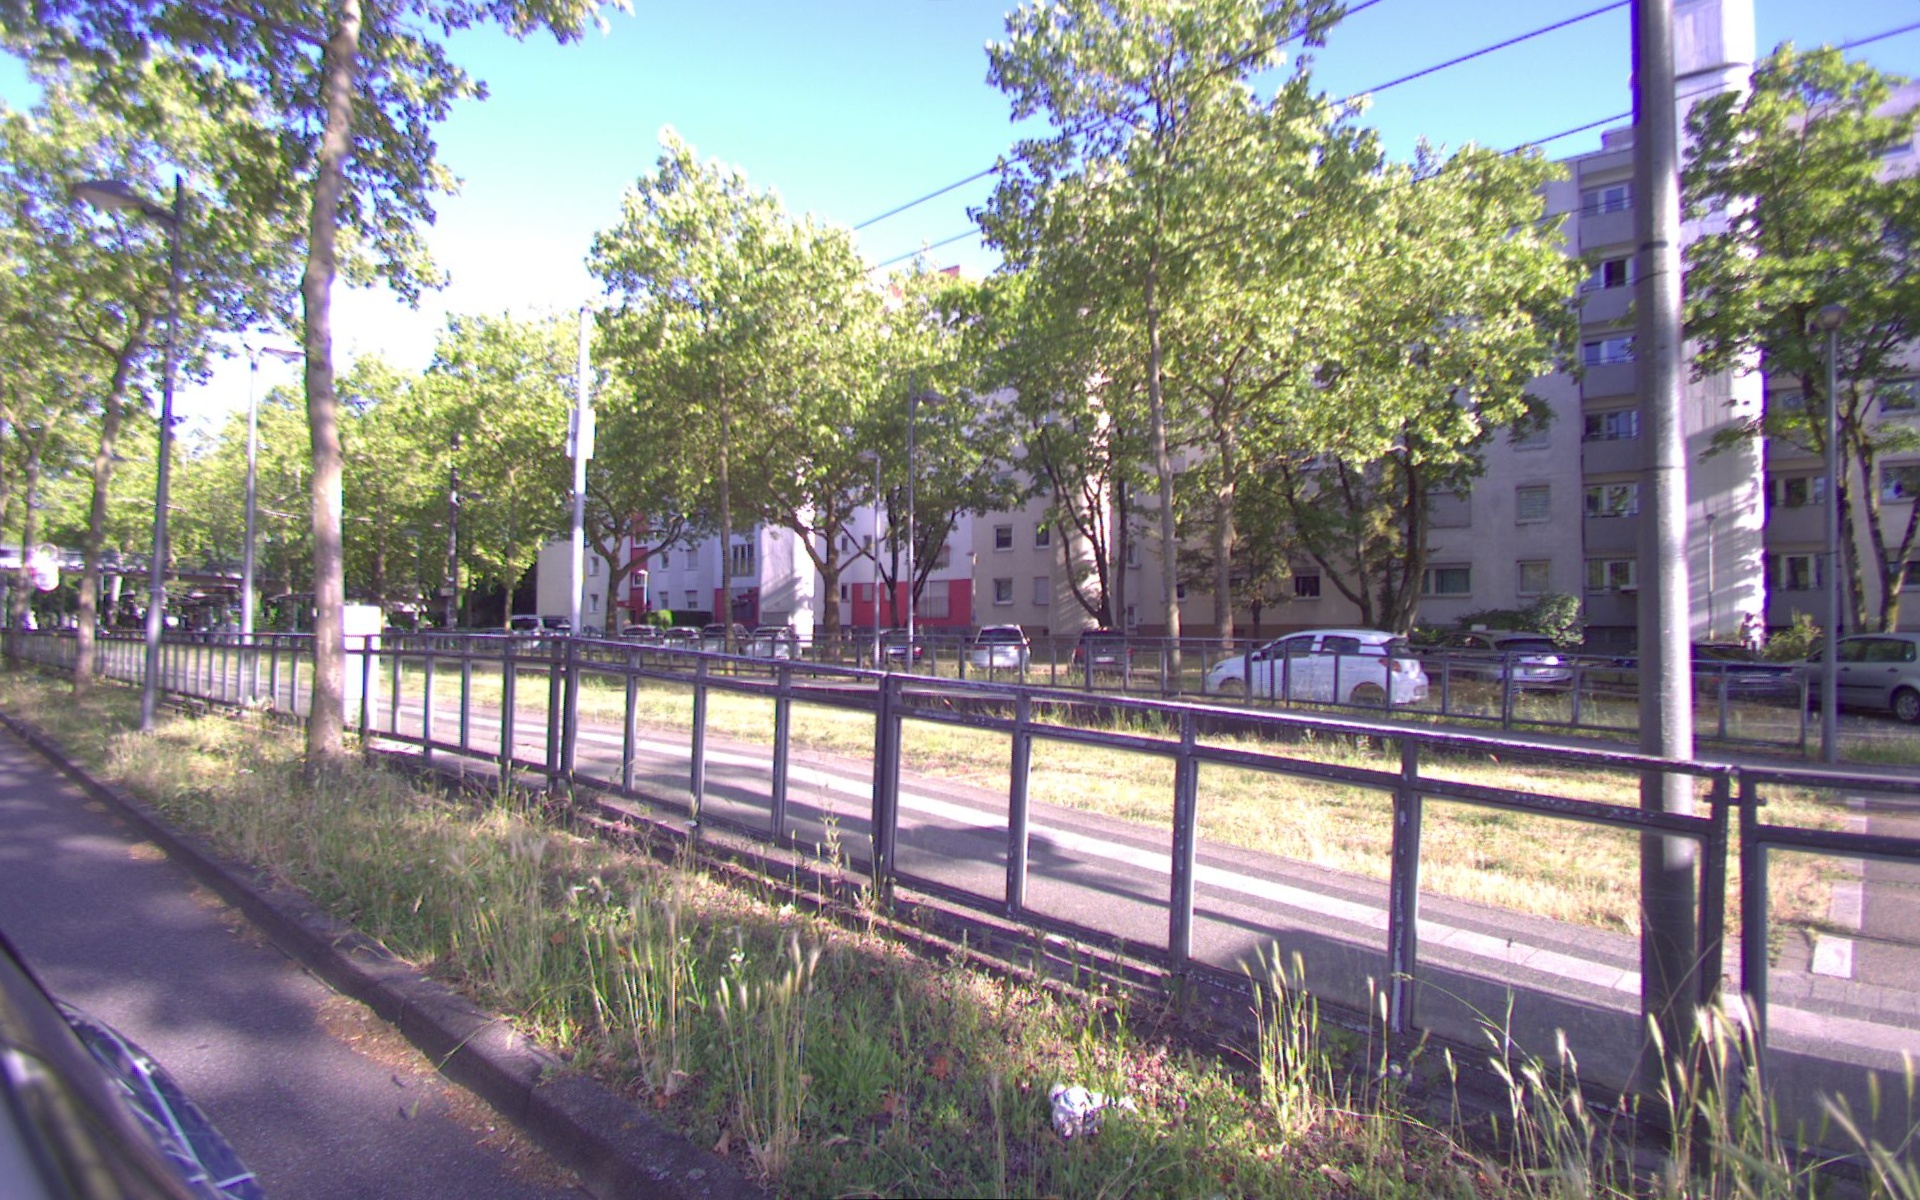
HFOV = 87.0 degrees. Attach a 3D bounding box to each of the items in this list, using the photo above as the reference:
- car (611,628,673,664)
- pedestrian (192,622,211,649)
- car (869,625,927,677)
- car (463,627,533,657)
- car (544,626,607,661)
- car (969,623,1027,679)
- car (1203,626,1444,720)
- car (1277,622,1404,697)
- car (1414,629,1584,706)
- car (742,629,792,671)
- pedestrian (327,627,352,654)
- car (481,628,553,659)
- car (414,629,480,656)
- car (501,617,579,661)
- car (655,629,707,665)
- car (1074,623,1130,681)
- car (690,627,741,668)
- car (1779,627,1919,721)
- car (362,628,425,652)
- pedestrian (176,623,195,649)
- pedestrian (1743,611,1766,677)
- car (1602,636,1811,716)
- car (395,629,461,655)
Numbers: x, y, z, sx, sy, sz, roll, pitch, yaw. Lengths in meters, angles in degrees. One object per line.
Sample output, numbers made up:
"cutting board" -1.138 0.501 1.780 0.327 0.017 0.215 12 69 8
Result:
"car" -14.228 2.029 45.495 1.870 1.515 4.506 -1 -1 -7
"pedestrian" -46.335 2.148 61.843 0.715 1.647 0.721 -1 -3 40
"car" -2.109 1.641 33.513 1.621 1.556 4.181 -1 -1 -7
"car" -25.853 2.326 56.797 1.873 1.509 4.500 -2 -1 0
"car" -18.849 2.102 49.730 1.665 1.623 4.061 -1 -1 -2
"car" 1.109 1.510 30.948 1.623 1.556 3.992 -1 -1 0
"car" 6.422 1.223 18.083 3.717 1.460 1.614 -1 -1 42
"car" 8.658 1.307 23.280 1.442 1.559 3.142 -1 -1 -5
"car" 11.188 1.345 21.270 1.516 1.437 3.388 0 -1 -5
"car" -7.295 1.849 38.461 1.551 1.485 4.066 -1 -1 -7
"pedestrian" -26.883 1.769 43.845 0.662 1.136 0.687 -1 -5 43
"car" -23.565 2.279 53.973 1.873 1.509 4.500 -2 -1 0
"car" -30.561 2.502 60.405 1.678 1.439 4.196 -2 -1 3
"car" -21.283 1.911 51.437 1.875 2.079 4.495 -2 -1 3
"car" -11.985 1.995 43.629 1.551 1.443 4.066 -1 -1 -7
"car" 3.996 1.416 28.370 1.448 1.520 3.375 -1 -1 8
"car" -9.949 1.906 41.379 1.551 1.580 4.066 -1 -2 -7
"car" 16.117 1.214 17.263 1.549 1.442 3.287 -1 -1 -1
"car" -37.422 2.624 66.965 1.678 1.439 4.196 -2 -1 3
"pedestrian" -47.022 2.200 61.442 0.681 1.525 0.638 -1 -3 29
"pedestrian" 21.854 1.212 27.854 0.449 1.805 0.315 -1 -2 36
"car" 13.739 1.353 18.874 1.445 1.263 3.382 0 -1 2
"car" -32.649 2.537 62.254 1.678 1.439 4.196 -2 -1 3
